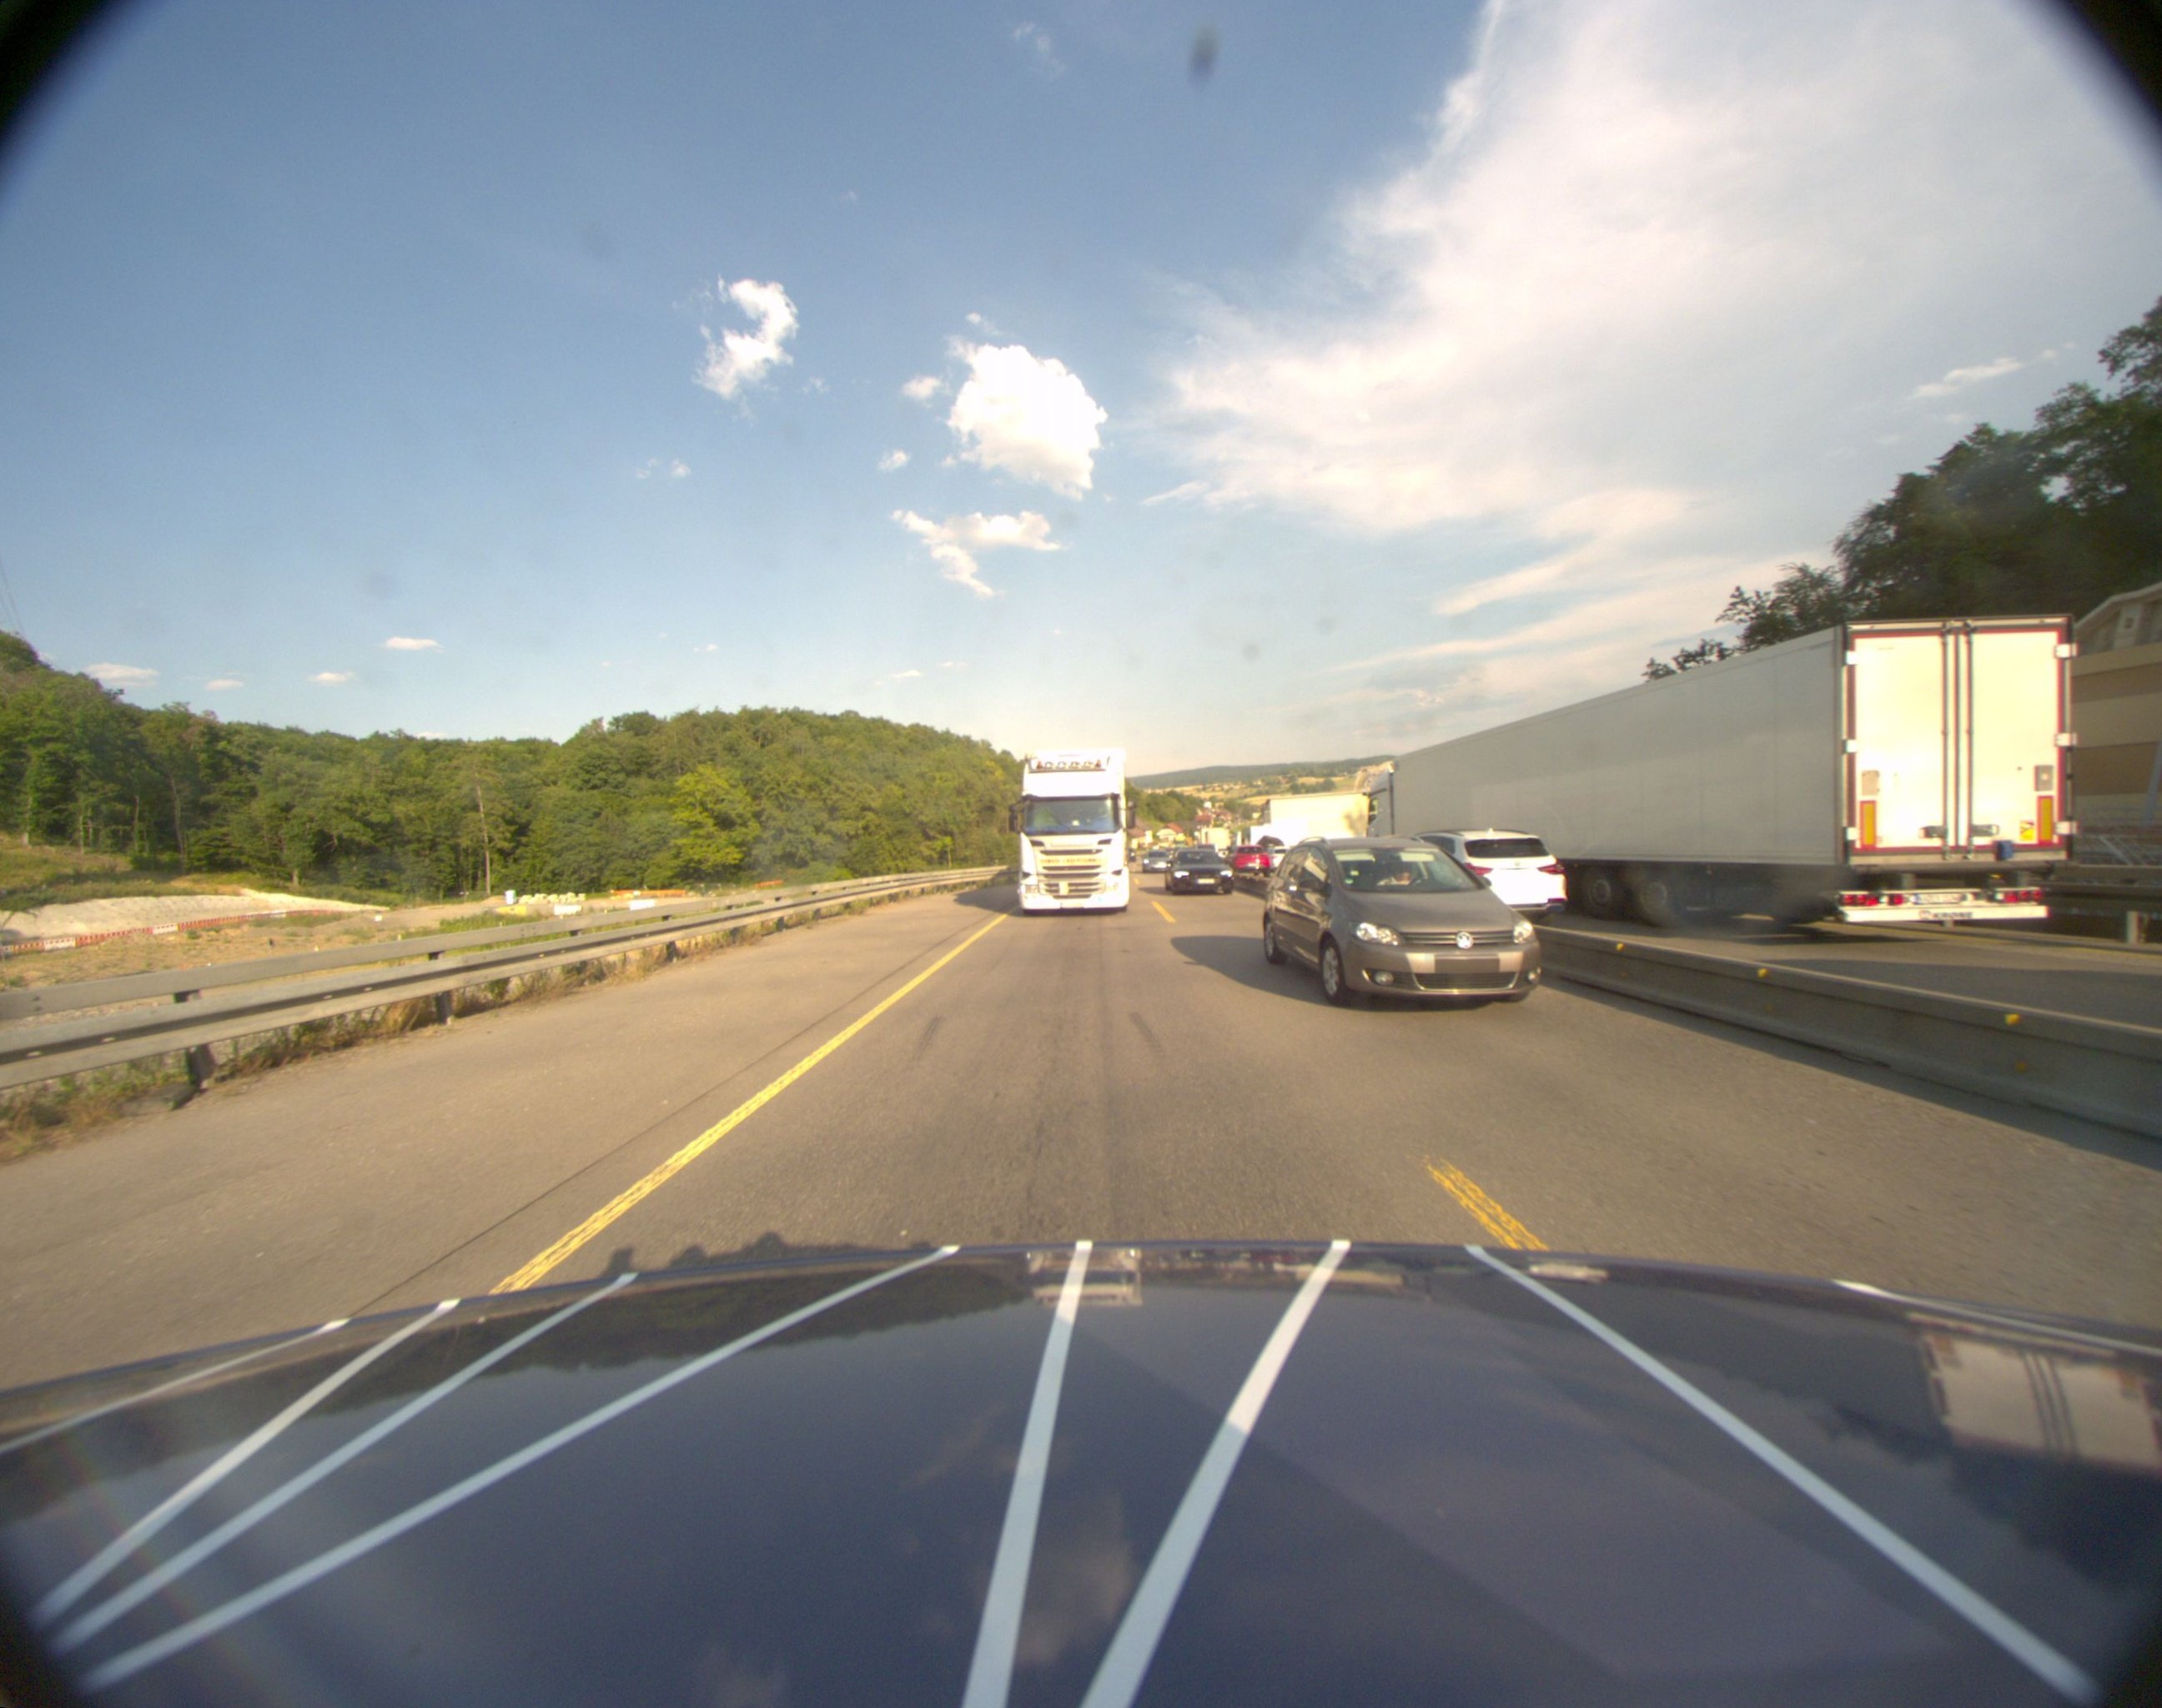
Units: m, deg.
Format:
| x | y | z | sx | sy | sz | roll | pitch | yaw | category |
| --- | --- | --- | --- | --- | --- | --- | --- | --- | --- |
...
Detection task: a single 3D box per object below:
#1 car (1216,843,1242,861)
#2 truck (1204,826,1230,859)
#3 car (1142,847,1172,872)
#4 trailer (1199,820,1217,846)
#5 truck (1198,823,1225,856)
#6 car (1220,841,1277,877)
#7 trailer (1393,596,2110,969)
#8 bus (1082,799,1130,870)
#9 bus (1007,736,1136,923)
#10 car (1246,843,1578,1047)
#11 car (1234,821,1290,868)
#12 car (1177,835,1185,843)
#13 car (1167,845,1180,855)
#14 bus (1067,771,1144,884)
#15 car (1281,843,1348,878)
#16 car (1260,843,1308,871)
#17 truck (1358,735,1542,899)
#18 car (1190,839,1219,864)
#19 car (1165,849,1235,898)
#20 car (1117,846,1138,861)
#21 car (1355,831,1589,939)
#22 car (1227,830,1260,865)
| x | y | z | sx | sy | sz | roll | pitch | yaw | category |
| --- | --- | --- | --- | --- | --- | --- | --- | --- | --- |
| 13.258 | -0.198 | 68.242 | 1.767 | 1.514 | 4.003 | -2 | 1 | 4 | car |
| 15.273 | -1.266 | 85.768 | 2.452 | 3.443 | 7.620 | -1 | 1 | 7 | truck |
| 4.769 | 0.329 | 47.765 | 1.698 | 1.390 | 4.001 | -3 | 0 | 5 | car |
| 21.728 | -3.544 | 130.388 | 2.863 | 4.013 | 13.977 | -1 | 1 | 9 | trailer |
| 17.049 | -1.946 | 100.232 | 2.713 | 4.065 | 14.158 | -1 | 1 | 6 | truck |
| 8.108 | 0.217 | 37.108 | 1.892 | 1.559 | 4.456 | -2 | 0 | 2 | car |
| 10.502 | -0.905 | 15.575 | 2.727 | 4.194 | 13.747 | -1 | 1 | 1 | trailer |
| 1.999 | -1.291 | 54.904 | 2.984 | 4.553 | 10.905 | -1 | 0 | 4 | bus |
| 0.203 | -0.637 | 22.322 | 2.634 | 4.077 | 11.315 | -1 | 1 | 5 | bus |
| 3.068 | 0.693 | 8.057 | 1.688 | 1.565 | 4.098 | -2 | 1 | 0 | car |
| 12.159 | -0.692 | 51.603 | 2.339 | 2.901 | 7.632 | -1 | 1 | 3 | car |
| 27.468 | -4.149 | 209.194 | 1.821 | 1.988 | 4.756 | 0 | 0 | 4 | car |
| 15.590 | -0.676 | 128.217 | 1.821 | 1.569 | 4.756 | 0 | 0 | 4 | car |
| 1.431 | -1.120 | 36.225 | 2.984 | 4.553 | 9.970 | -1 | 0 | 5 | bus |
| 10.484 | 0.269 | 34.435 | 1.747 | 1.452 | 4.714 | -1 | 0 | 3 | car |
| 11.483 | 0.139 | 43.225 | 1.753 | 1.414 | 4.610 | -2 | 1 | 4 | car |
| 10.622 | -0.998 | 22.578 | 2.719 | 4.194 | 5.682 | -1 | 1 | 1 | truck |
| 9.277 | -0.171 | 57.454 | 1.808 | 1.761 | 5.455 | -2 | -1 | 5 | car |
| 3.795 | 0.563 | 24.776 | 1.866 | 1.391 | 4.000 | -1 | 1 | 3 | car |
| 5.505 | -0.059 | 90.440 | 1.999 | 1.630 | 3.999 | -2 | 1 | -2 | car |
| 6.833 | 0.408 | 14.007 | 1.874 | 1.580 | 4.802 | 1 | 2 | 1 | car |
| 12.880 | -0.574 | 60.454 | 1.960 | 2.606 | 5.749 | -1 | 1 | 6 | car |
